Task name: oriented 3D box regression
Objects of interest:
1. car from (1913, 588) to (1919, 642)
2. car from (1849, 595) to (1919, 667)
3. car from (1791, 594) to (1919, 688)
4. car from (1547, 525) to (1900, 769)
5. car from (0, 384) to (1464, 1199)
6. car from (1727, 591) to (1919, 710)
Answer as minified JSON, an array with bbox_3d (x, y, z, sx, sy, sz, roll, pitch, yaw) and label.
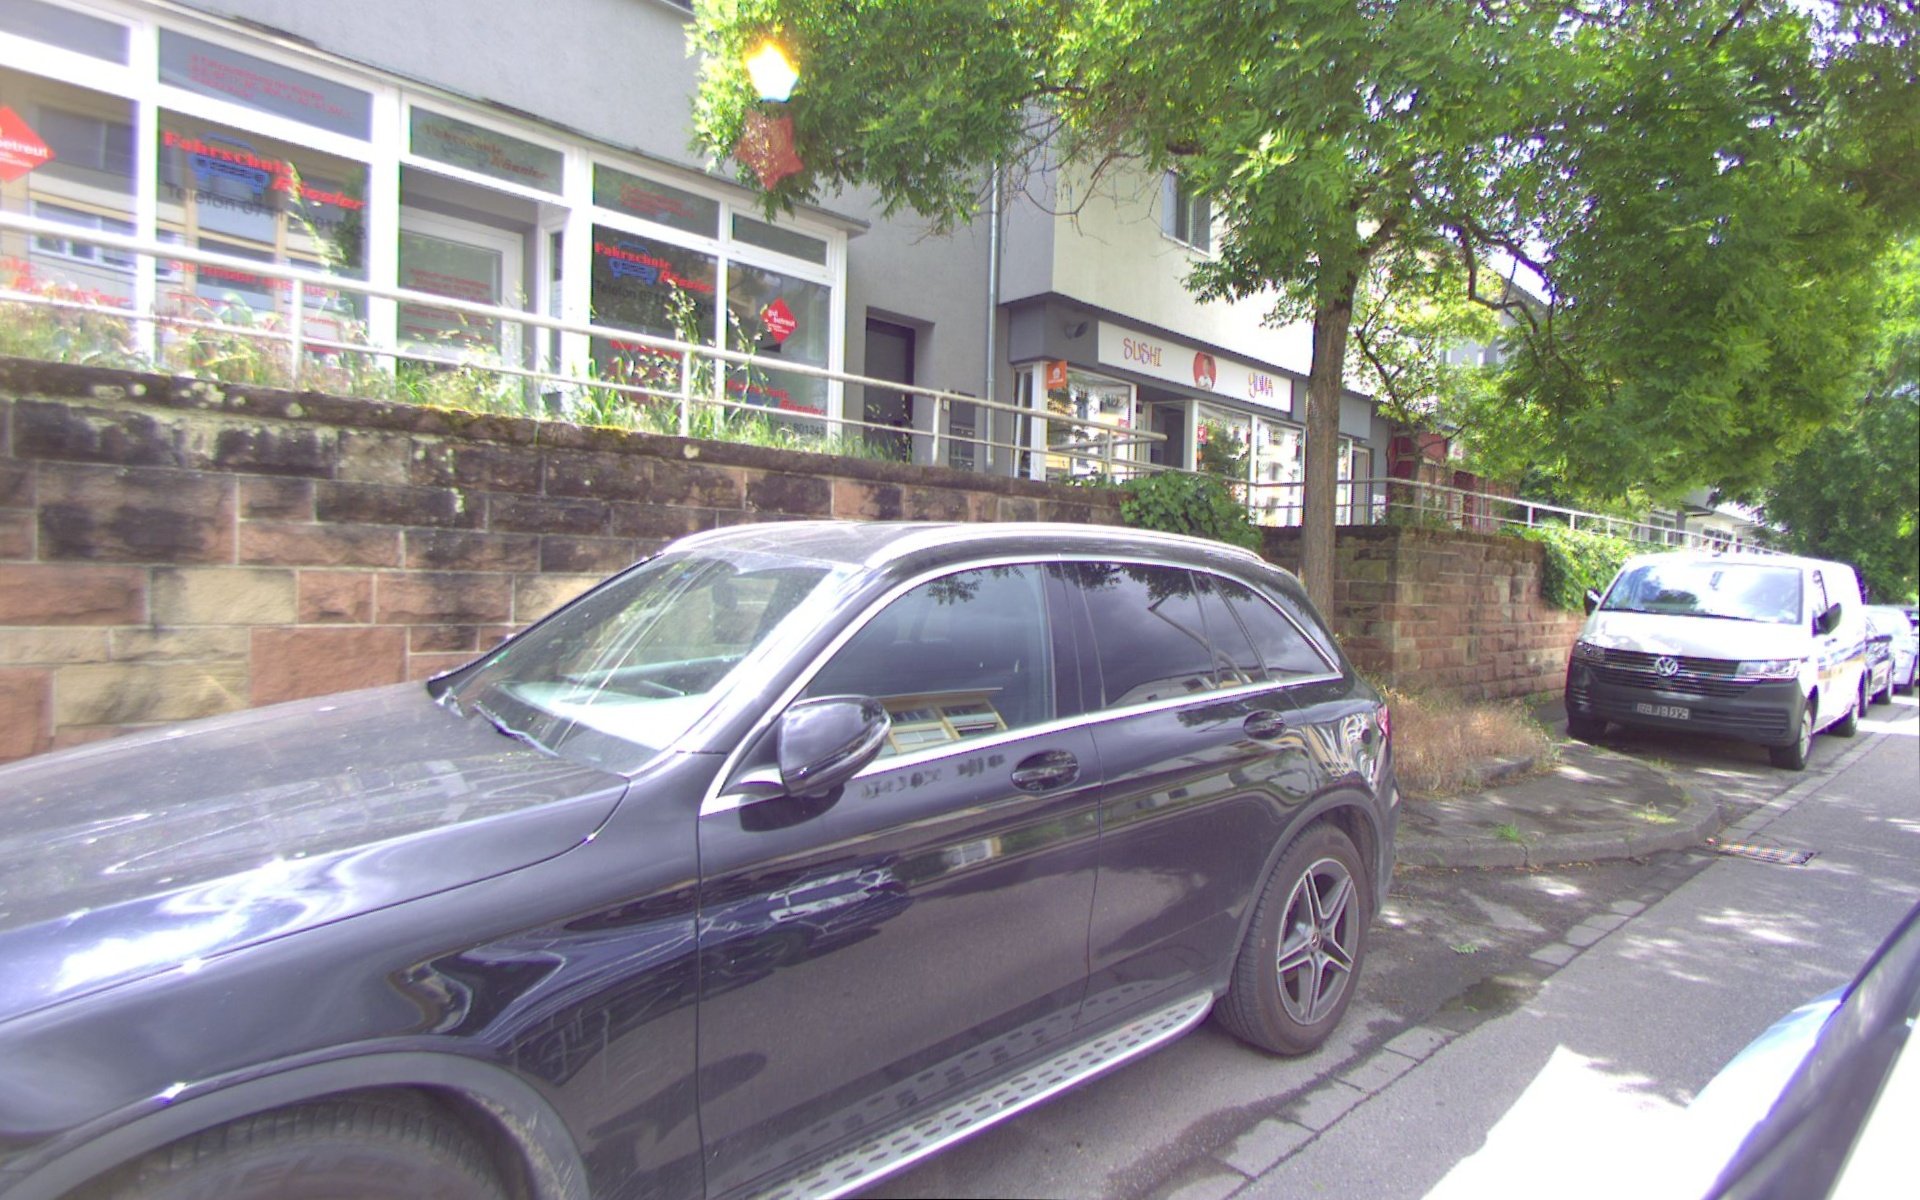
[{"bbox_3d":[32.323,0.496,32.830,4.078,1.674,1.816,0,2,-44],"label":"car"},{"bbox_3d":[21.319,0.654,22.508,4.075,1.446,1.783,0,2,-41],"label":"car"},{"bbox_3d":[16.201,0.647,17.946,4.076,1.446,1.782,0,2,-44],"label":"car"},{"bbox_3d":[8.191,0.354,10.658,4.925,1.994,1.977,0,1,-41],"label":"car"},{"bbox_3d":[-0.424,0.521,2.912,4.371,1.637,1.793,0,4,-42],"label":"car"},{"bbox_3d":[12.357,0.622,14.403,3.669,1.446,1.577,0,1,-41],"label":"car"}]
